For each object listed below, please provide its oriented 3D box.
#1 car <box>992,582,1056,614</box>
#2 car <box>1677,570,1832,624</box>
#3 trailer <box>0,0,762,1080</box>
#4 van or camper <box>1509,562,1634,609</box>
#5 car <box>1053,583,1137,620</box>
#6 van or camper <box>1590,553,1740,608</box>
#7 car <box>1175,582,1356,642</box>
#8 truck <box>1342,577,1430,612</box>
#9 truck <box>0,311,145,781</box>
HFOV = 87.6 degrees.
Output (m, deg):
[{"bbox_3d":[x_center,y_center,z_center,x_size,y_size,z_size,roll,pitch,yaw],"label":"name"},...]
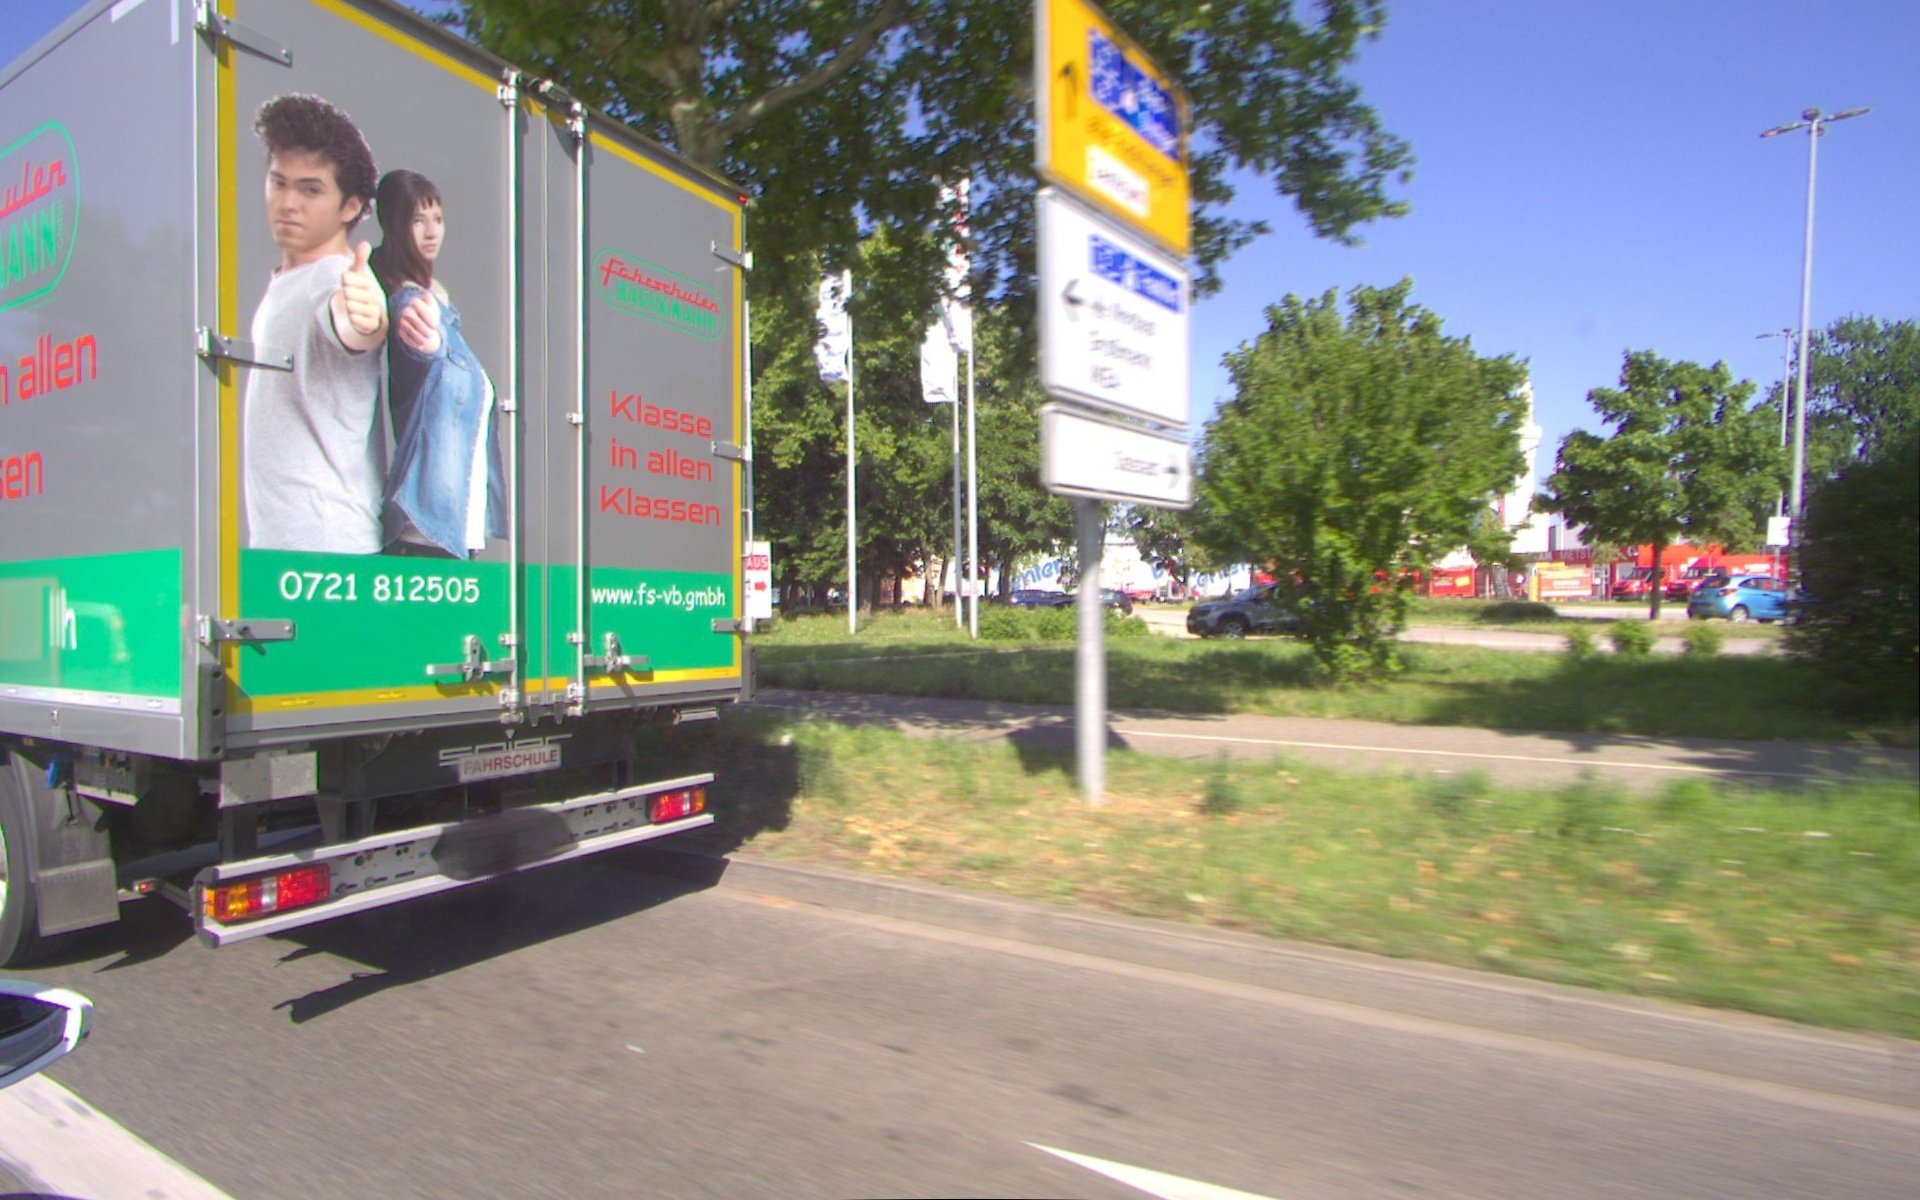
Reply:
[{"bbox_3d":[4.038,-0.107,62.605,3.922,1.861,2.001,0,-1,5],"label":"car"},{"bbox_3d":[23.630,-0.073,29.861,3.419,1.552,1.544,0,-1,-1],"label":"car"},{"bbox_3d":[-4.981,-0.546,5.992,7.625,3.928,2.731,-1,0,32],"label":"trailer"},{"bbox_3d":[39.941,-0.901,65.451,7.146,2.980,2.000,0,-1,-4],"label":"van or camper"},{"bbox_3d":[6.425,0.085,48.130,3.922,1.705,2.001,0,-1,5],"label":"car"},{"bbox_3d":[39.327,-1.066,55.931,7.146,2.980,2.000,0,-1,-4],"label":"van or camper"},{"bbox_3d":[7.584,0.307,25.137,3.922,1.438,1.907,0,-1,-2],"label":"car"},{"bbox_3d":[31.322,-0.396,73.689,5.669,2.443,2.000,0,-1,-3],"label":"truck"},{"bbox_3d":[-11.869,-0.376,10.383,8.599,3.940,2.723,-1,0,33],"label":"truck"}]
